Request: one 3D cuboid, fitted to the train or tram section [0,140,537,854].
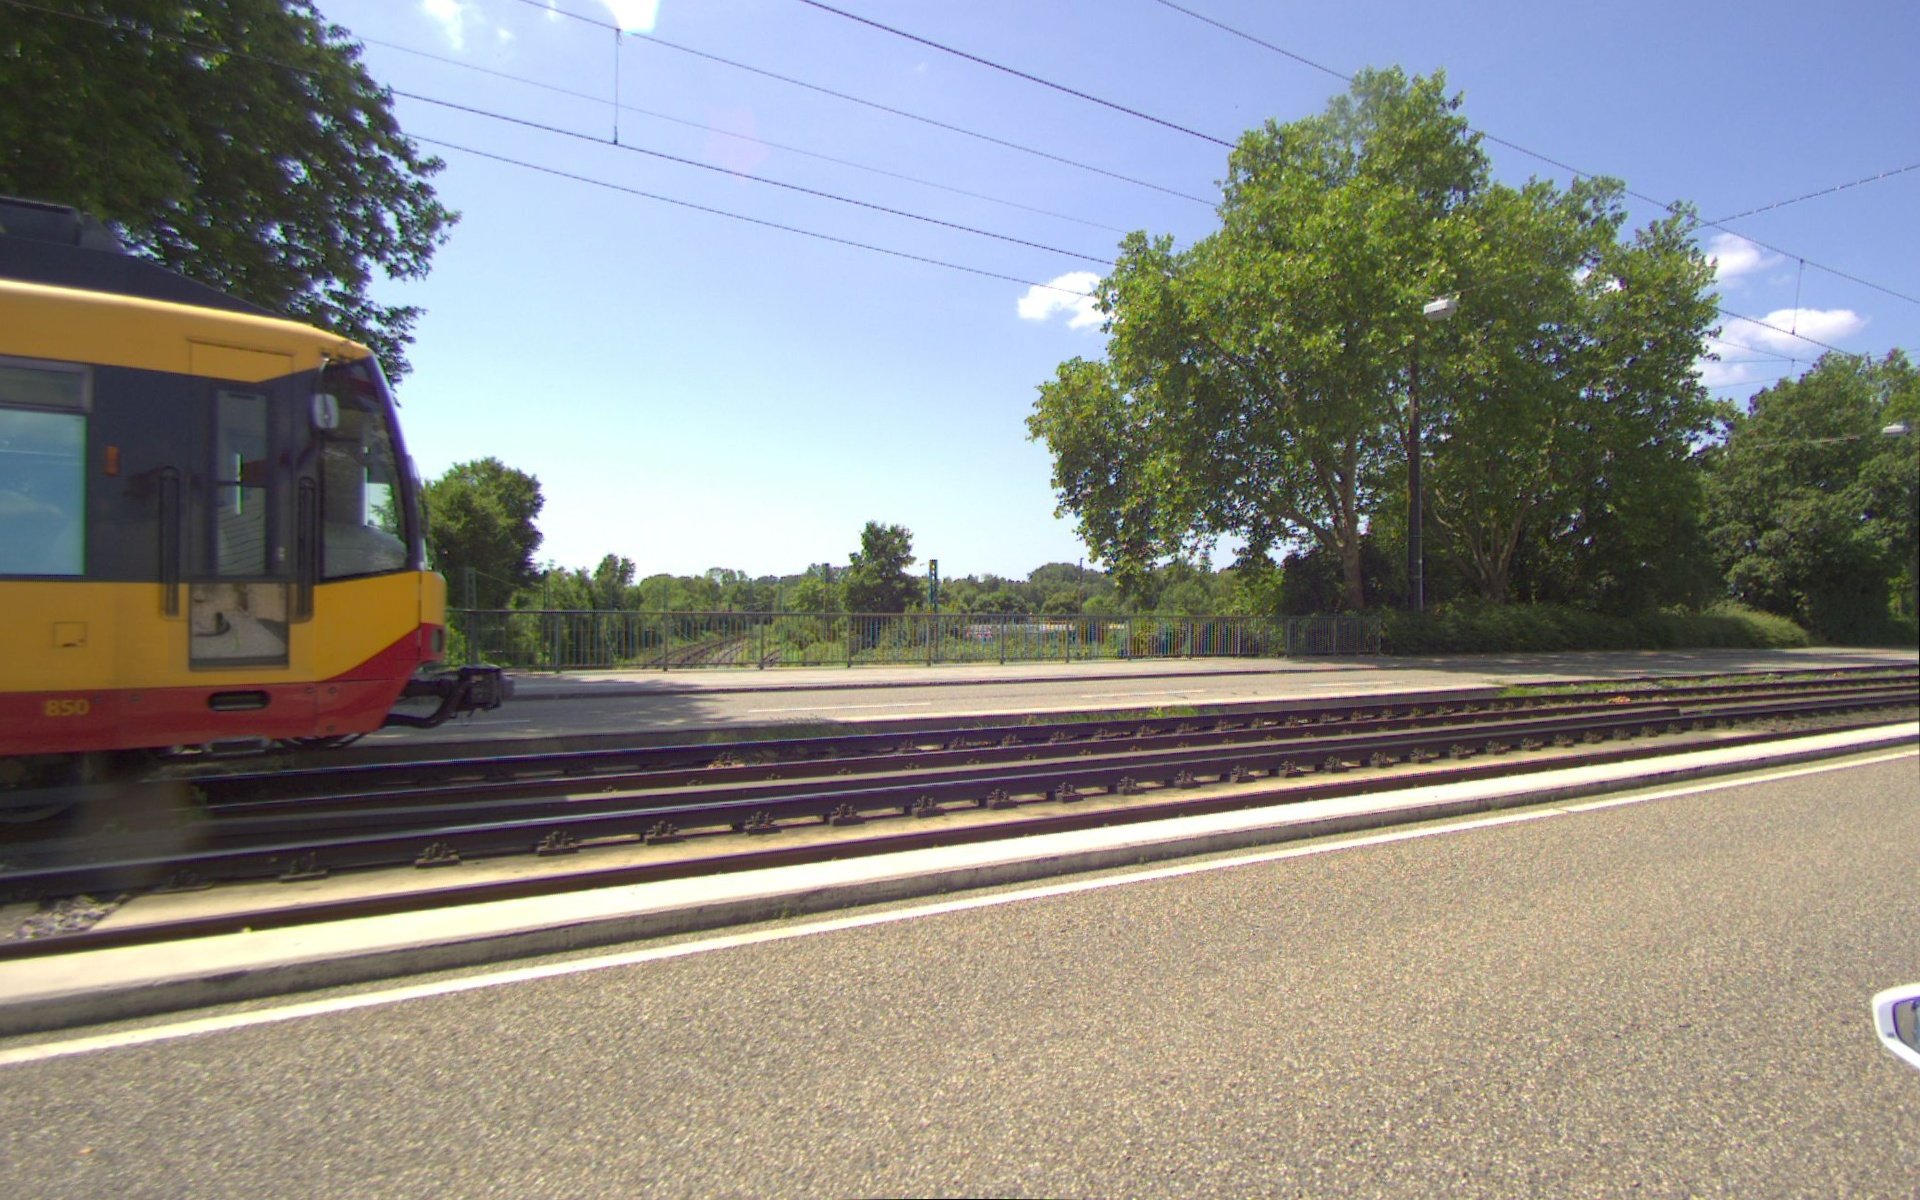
[{"bbox_3d":[-9.821,-0.660,5.161,13.820,4.196,3.023,1,-1,-31],"label":"train or tram section"}]
